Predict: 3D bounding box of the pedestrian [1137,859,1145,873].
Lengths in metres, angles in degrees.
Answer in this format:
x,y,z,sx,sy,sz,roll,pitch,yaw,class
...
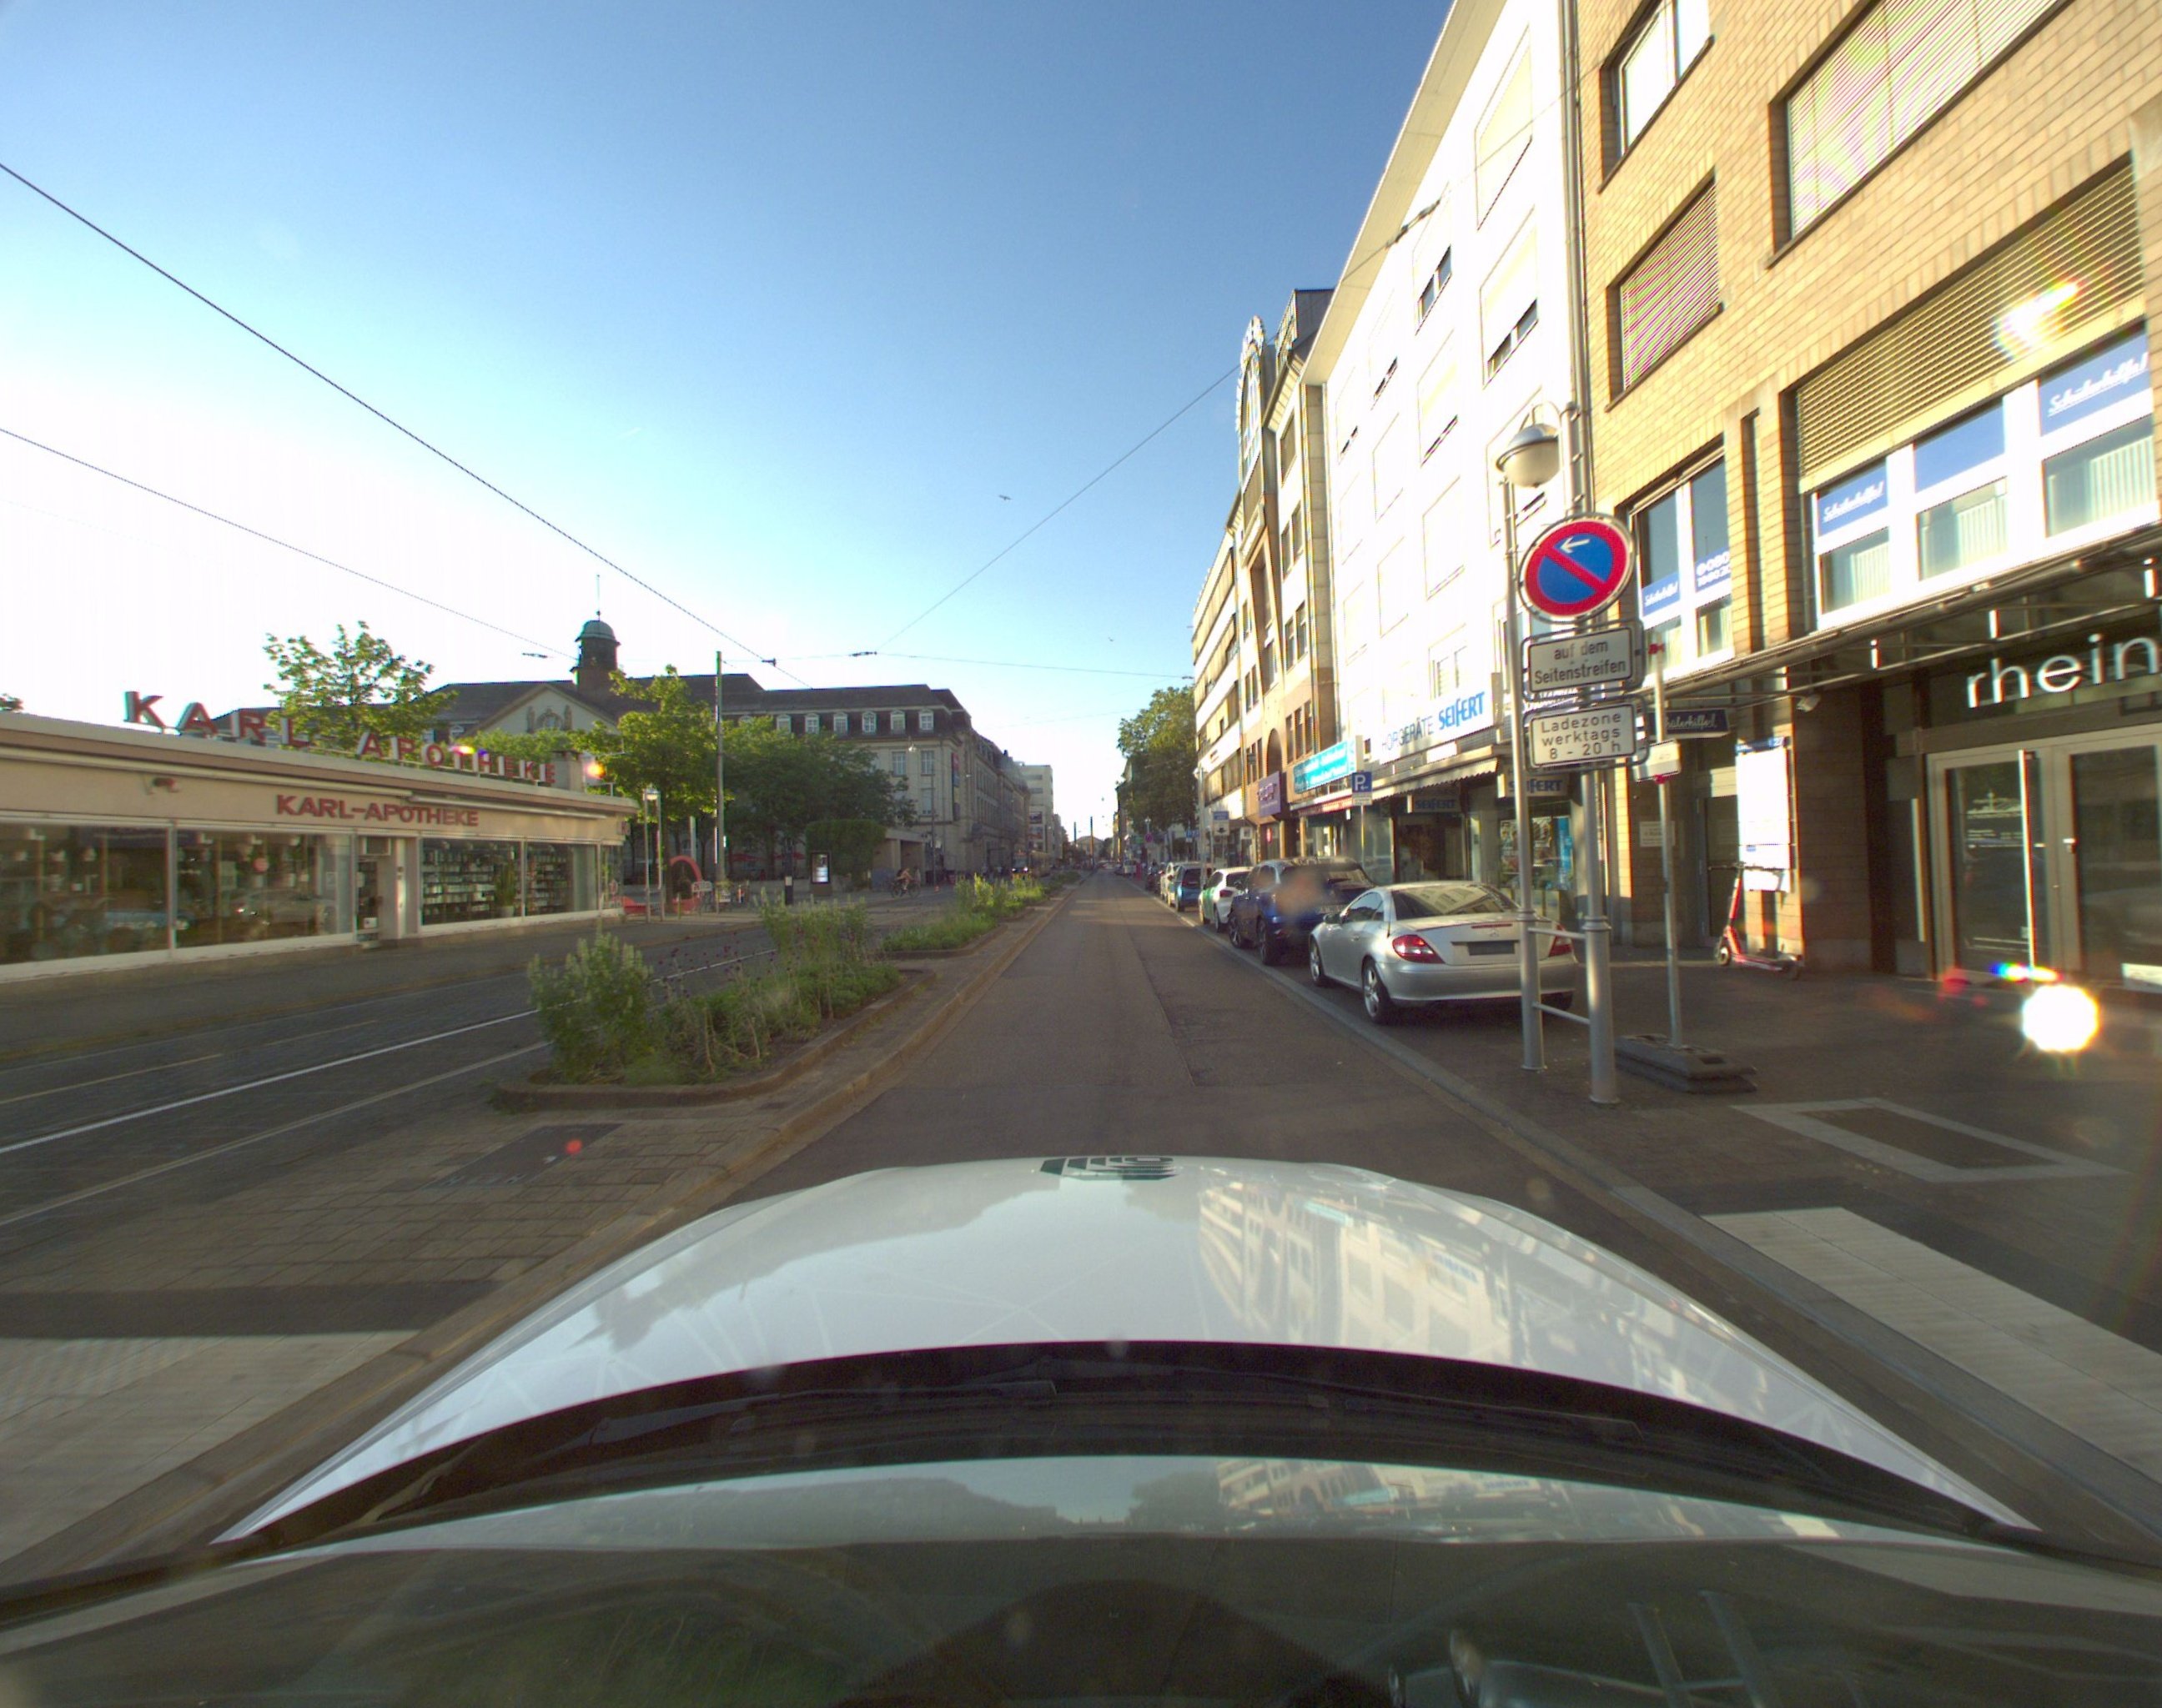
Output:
x,y,z,sx,sy,sz,roll,pitch,yaw,class
7.410,1.502,100.954,0.785,1.751,0.893,-2,-3,-6,pedestrian

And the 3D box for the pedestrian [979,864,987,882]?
x,y,z,sx,sy,sz,roll,pitch,yaw,class
-10.450,2.014,86.994,0.690,1.847,0.662,-2,-3,1,pedestrian

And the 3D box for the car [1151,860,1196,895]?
x,y,z,sx,sy,sz,roll,pitch,yaw,class
4.592,1.144,41.104,1.769,1.538,4.579,-2,0,1,car

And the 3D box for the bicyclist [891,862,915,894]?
x,y,z,sx,sy,sz,roll,pitch,yaw,class
-10.078,1.372,46.087,0.937,1.776,0.959,-1,-1,-43,bicyclist

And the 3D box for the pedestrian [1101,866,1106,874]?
x,y,z,sx,sy,sz,roll,pitch,yaw,class
5.739,4.057,207.773,1.231,1.928,1.017,-2,-1,-15,pedestrian

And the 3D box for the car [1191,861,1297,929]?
x,y,z,sx,sy,sz,roll,pitch,yaw,class
3.883,0.993,20.051,1.725,1.435,4.151,-2,-2,0,car

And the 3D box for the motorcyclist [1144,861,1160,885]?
x,y,z,sx,sy,sz,roll,pitch,yaw,class
5.476,1.439,62.485,0.994,1.814,0.963,-3,-3,15,motorcyclist

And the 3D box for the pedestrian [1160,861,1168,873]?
x,y,z,sx,sy,sz,roll,pitch,yaw,class
9.770,1.563,96.147,0.820,1.306,0.869,-2,-3,0,pedestrian

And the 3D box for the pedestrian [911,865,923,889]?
x,y,z,sx,sy,sz,roll,pitch,yaw,class
-13.888,1.964,69.073,0.721,1.934,0.793,-2,-3,4,pedestrian

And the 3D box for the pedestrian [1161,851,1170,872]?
x,y,z,sx,sy,sz,roll,pitch,yaw,class
7.336,0.666,70.999,0.675,1.717,0.655,-2,-3,3,pedestrian

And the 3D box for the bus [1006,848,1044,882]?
x,y,z,sx,sy,sz,roll,pitch,yaw,class
-6.650,1.350,99.024,2.812,3.651,17.077,-2,-1,2,bus

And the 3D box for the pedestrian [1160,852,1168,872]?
x,y,z,sx,sy,sz,roll,pitch,yaw,class
7.346,0.711,71.670,0.611,1.717,0.662,-2,-3,3,pedestrian

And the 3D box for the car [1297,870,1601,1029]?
x,y,z,sx,sy,sz,roll,pitch,yaw,class
3.612,0.848,8.855,1.666,1.283,4.067,-2,-1,4,car

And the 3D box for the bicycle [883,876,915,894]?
x,y,z,sx,sy,sz,roll,pitch,yaw,class
-13.628,2.336,60.865,2.233,1.255,0.579,-2,-3,1,bicycle

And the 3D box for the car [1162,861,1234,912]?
x,y,z,sx,sy,sz,roll,pitch,yaw,class
3.958,1.061,28.201,1.803,1.552,4.836,-2,-1,0,car

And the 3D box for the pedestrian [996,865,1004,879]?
x,y,z,sx,sy,sz,roll,pitch,yaw,class
-10.082,2.251,101.363,0.811,1.707,0.762,-2,-3,1,pedestrian

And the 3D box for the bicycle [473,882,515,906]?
x,y,z,sx,sy,sz,roll,pitch,yaw,class
-38.151,2.596,52.946,2.234,1.476,0.579,-2,-2,-1,bicycle

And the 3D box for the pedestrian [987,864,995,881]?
x,y,z,sx,sy,sz,roll,pitch,yaw,class
-9.643,1.995,87.020,0.730,1.841,0.715,-2,-2,1,pedestrian

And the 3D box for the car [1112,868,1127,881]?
x,y,z,sx,sy,sz,roll,pitch,yaw,class
5.488,3.009,117.373,1.986,1.761,4.421,-2,-1,1,car

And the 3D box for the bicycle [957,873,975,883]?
x,y,z,sx,sy,sz,roll,pitch,yaw,class
-13.872,2.910,98.529,2.073,1.148,0.574,-2,-3,-4,bicycle

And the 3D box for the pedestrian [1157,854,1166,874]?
x,y,z,sx,sy,sz,roll,pitch,yaw,class
7.448,0.898,75.344,0.711,1.804,0.825,-3,-2,4,pedestrian

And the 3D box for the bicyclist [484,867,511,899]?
x,y,z,sx,sy,sz,roll,pitch,yaw,class
-37.987,1.881,53.028,0.955,2.019,1.142,-2,-3,0,bicyclist

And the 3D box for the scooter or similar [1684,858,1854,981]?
x,y,z,sx,sy,sz,roll,pitch,yaw,class
7.307,0.647,8.746,0.458,1.183,1.572,-2,0,0,scooter or similar

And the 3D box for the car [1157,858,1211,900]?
x,y,z,sx,sy,sz,roll,pitch,yaw,class
4.215,0.991,34.019,1.809,1.586,4.725,-2,-1,2,car

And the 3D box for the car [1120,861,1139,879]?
x,y,z,sx,sy,sz,roll,pitch,yaw,class
5.479,1.823,92.512,1.908,1.982,4.421,-2,-1,1,car

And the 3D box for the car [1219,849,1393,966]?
x,y,z,sx,sy,sz,roll,pitch,yaw,class
3.545,0.788,13.656,1.759,1.605,4.287,-2,-1,1,car

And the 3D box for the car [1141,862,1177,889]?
x,y,z,sx,sy,sz,roll,pitch,yaw,class
4.534,1.253,47.681,1.649,1.380,4.341,-5,-1,1,car

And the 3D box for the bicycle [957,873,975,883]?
x,y,z,sx,sy,sz,roll,pitch,yaw,class
-13.824,2.879,97.862,2.093,1.148,0.574,-2,-3,-4,bicycle

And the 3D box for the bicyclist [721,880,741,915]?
x,y,z,sx,sy,sz,roll,pitch,yaw,class
-17.053,2.110,39.684,0.708,1.669,0.621,1,-4,-40,bicyclist

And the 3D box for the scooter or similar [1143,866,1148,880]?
x,y,z,sx,sy,sz,roll,pitch,yaw,class
5.679,1.682,71.982,0.313,1.221,1.275,-2,-1,8,scooter or similar

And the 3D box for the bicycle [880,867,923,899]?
x,y,z,sx,sy,sz,roll,pitch,yaw,class
-10.152,1.629,46.067,2.381,1.740,0.596,-1,-1,-43,bicycle

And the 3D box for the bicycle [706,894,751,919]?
x,y,z,sx,sy,sz,roll,pitch,yaw,class
-17.148,2.561,39.600,1.946,1.112,0.455,0,-3,-40,bicycle

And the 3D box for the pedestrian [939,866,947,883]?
x,y,z,sx,sy,sz,roll,pitch,yaw,class
-13.826,2.047,81.705,0.717,1.646,0.655,0,-1,-21,pedestrian

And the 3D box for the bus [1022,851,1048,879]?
x,y,z,sx,sy,sz,roll,pitch,yaw,class
-6.263,1.475,111.706,2.812,3.625,8.292,-2,0,2,bus

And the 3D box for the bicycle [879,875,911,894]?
x,y,z,sx,sy,sz,roll,pitch,yaw,class
-13.544,2.244,59.338,2.189,1.300,0.579,-2,-3,1,bicycle

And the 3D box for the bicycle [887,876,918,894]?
x,y,z,sx,sy,sz,roll,pitch,yaw,class
-13.684,2.377,62.538,2.233,1.232,0.585,-2,-2,1,bicycle
